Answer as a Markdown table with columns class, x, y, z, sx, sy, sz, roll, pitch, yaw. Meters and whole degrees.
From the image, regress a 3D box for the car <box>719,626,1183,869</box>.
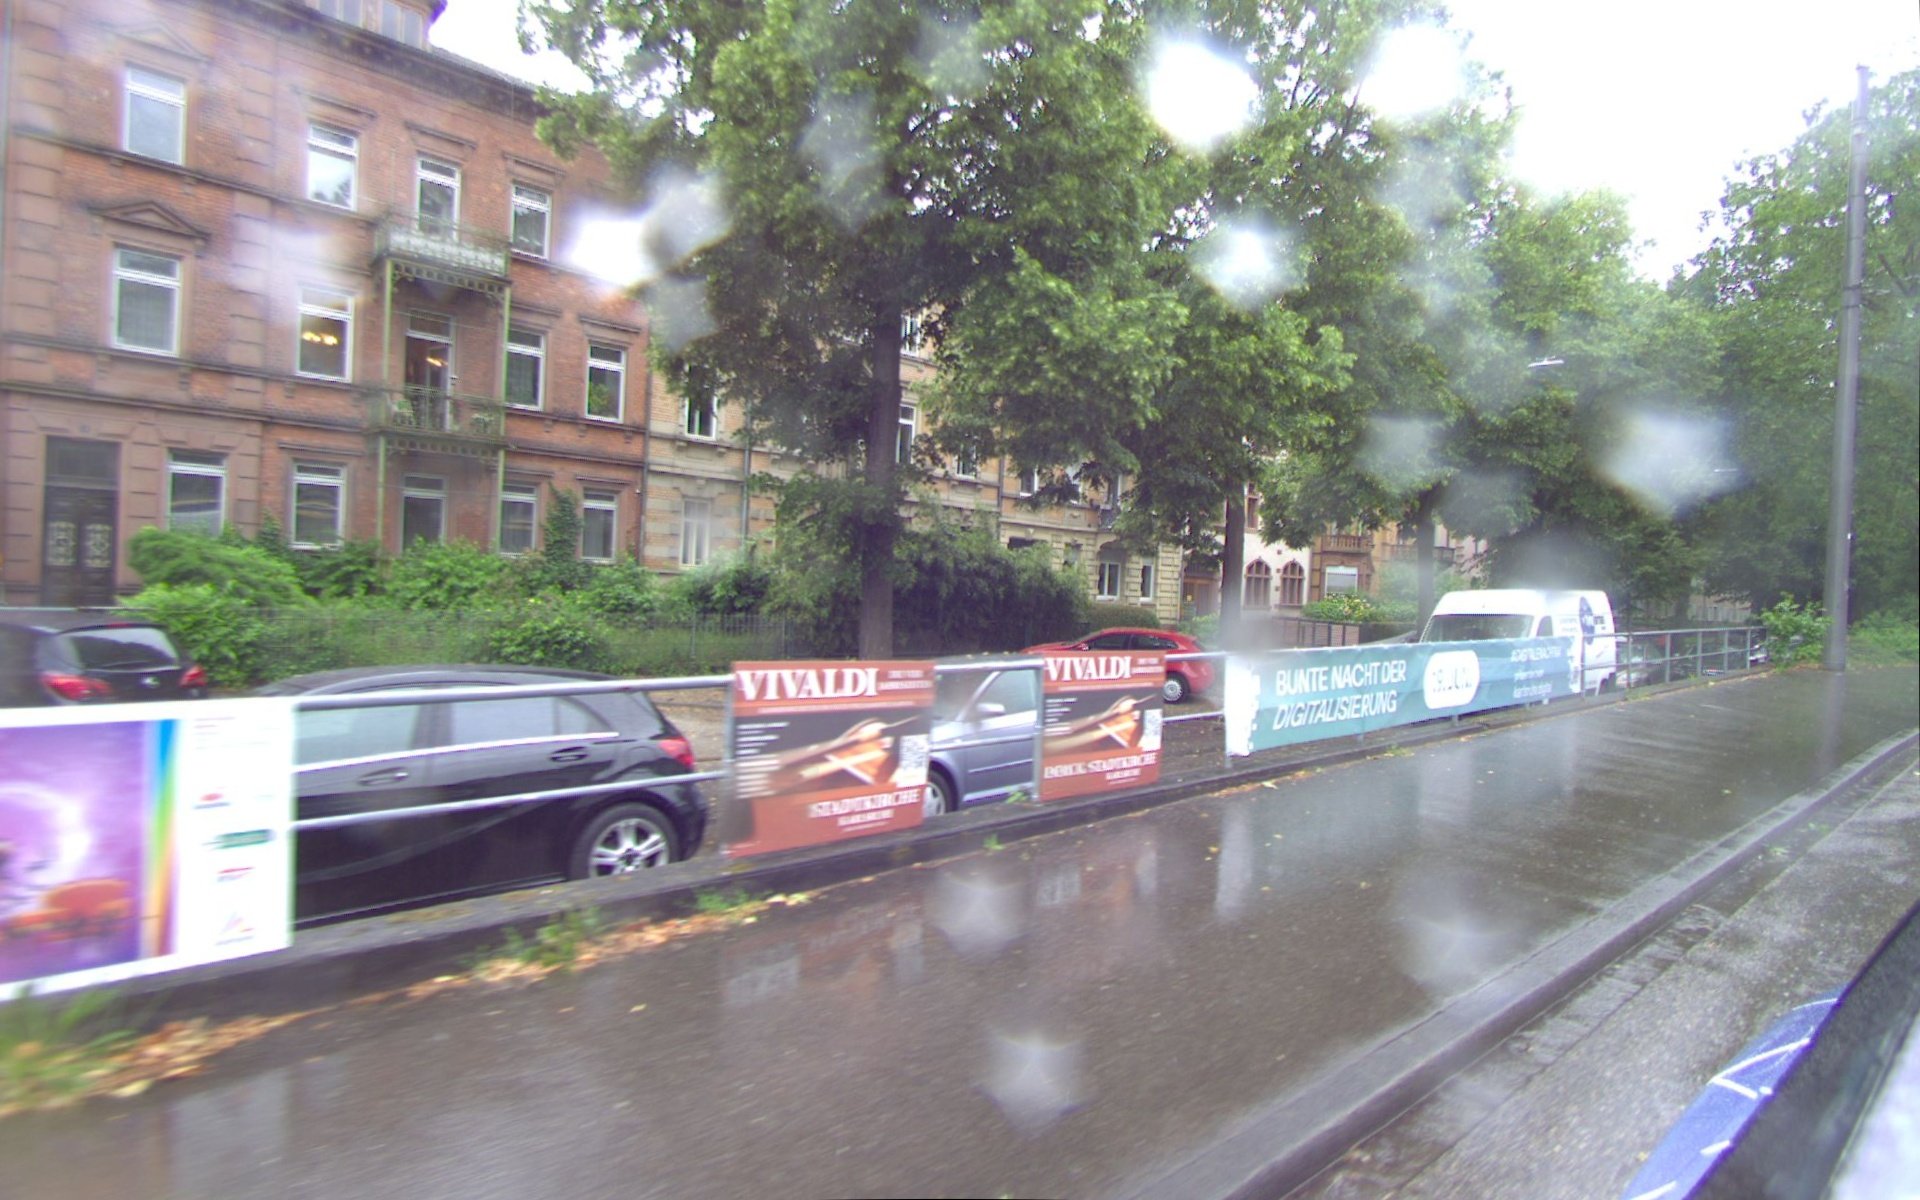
| class | x | y | z | sx | sy | sz | roll | pitch | yaw |
| --- | --- | --- | --- | --- | --- | --- | --- | --- | --- |
| car | 0.085 | 1.070 | 8.987 | 4.005 | 1.559 | 1.734 | 0 | 0 | -43 |

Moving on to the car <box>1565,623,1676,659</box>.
| class | x | y | z | sx | sy | sz | roll | pitch | yaw |
| --- | --- | --- | --- | --- | --- | --- | --- | --- | --- |
| car | 31.092 | 1.910 | 47.787 | 3.942 | 1.482 | 1.904 | 1 | 0 | 15 |

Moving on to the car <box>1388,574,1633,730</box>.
| class | x | y | z | sx | sy | sz | roll | pitch | yaw |
| --- | --- | --- | --- | --- | --- | --- | --- | --- | --- |
| car | 10.354 | 0.820 | 18.757 | 6.055 | 2.451 | 2.211 | 0 | 0 | -43 |

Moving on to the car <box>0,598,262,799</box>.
| class | x | y | z | sx | sy | sz | roll | pitch | yaw |
| --- | --- | --- | --- | --- | --- | --- | --- | --- | --- |
| car | -9.560 | 0.871 | 10.010 | 3.923 | 1.735 | 2.001 | 1 | 0 | -1 |

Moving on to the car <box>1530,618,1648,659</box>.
| class | x | y | z | sx | sy | sz | roll | pitch | yaw |
| --- | --- | --- | --- | --- | --- | --- | --- | --- | --- |
| car | 27.414 | 1.651 | 44.253 | 3.942 | 1.585 | 1.991 | 1 | 0 | 15 |

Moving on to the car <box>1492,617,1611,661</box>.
| class | x | y | z | sx | sy | sz | roll | pitch | yaw |
| --- | --- | --- | --- | --- | --- | --- | --- | --- | --- |
| car | 24.607 | 1.603 | 42.239 | 3.948 | 1.629 | 1.814 | 1 | 0 | 19 |

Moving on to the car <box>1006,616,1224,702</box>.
| class | x | y | z | sx | sy | sz | roll | pitch | yaw |
| --- | --- | --- | --- | --- | --- | --- | --- | --- | --- |
| car | 3.357 | 1.197 | 21.745 | 4.373 | 1.471 | 1.888 | 3 | 1 | 18 |

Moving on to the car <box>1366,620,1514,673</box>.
| class | x | y | z | sx | sy | sz | roll | pitch | yaw |
| --- | --- | --- | --- | --- | --- | --- | --- | --- | --- |
| car | 15.515 | 1.463 | 32.972 | 4.214 | 1.397 | 1.679 | 2 | 2 | 23 |

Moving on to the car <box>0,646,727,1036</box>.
| class | x | y | z | sx | sy | sz | roll | pitch | yaw |
| --- | --- | --- | --- | --- | --- | --- | --- | --- | --- |
| car | -3.474 | 1.060 | 5.632 | 3.903 | 1.418 | 1.706 | 0 | 1 | -41 |

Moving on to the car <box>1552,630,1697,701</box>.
| class | x | y | z | sx | sy | sz | roll | pitch | yaw |
| --- | --- | --- | --- | --- | --- | --- | --- | --- | --- |
| car | 15.547 | 1.450 | 23.590 | 4.312 | 1.370 | 1.968 | 0 | 0 | -44 |
